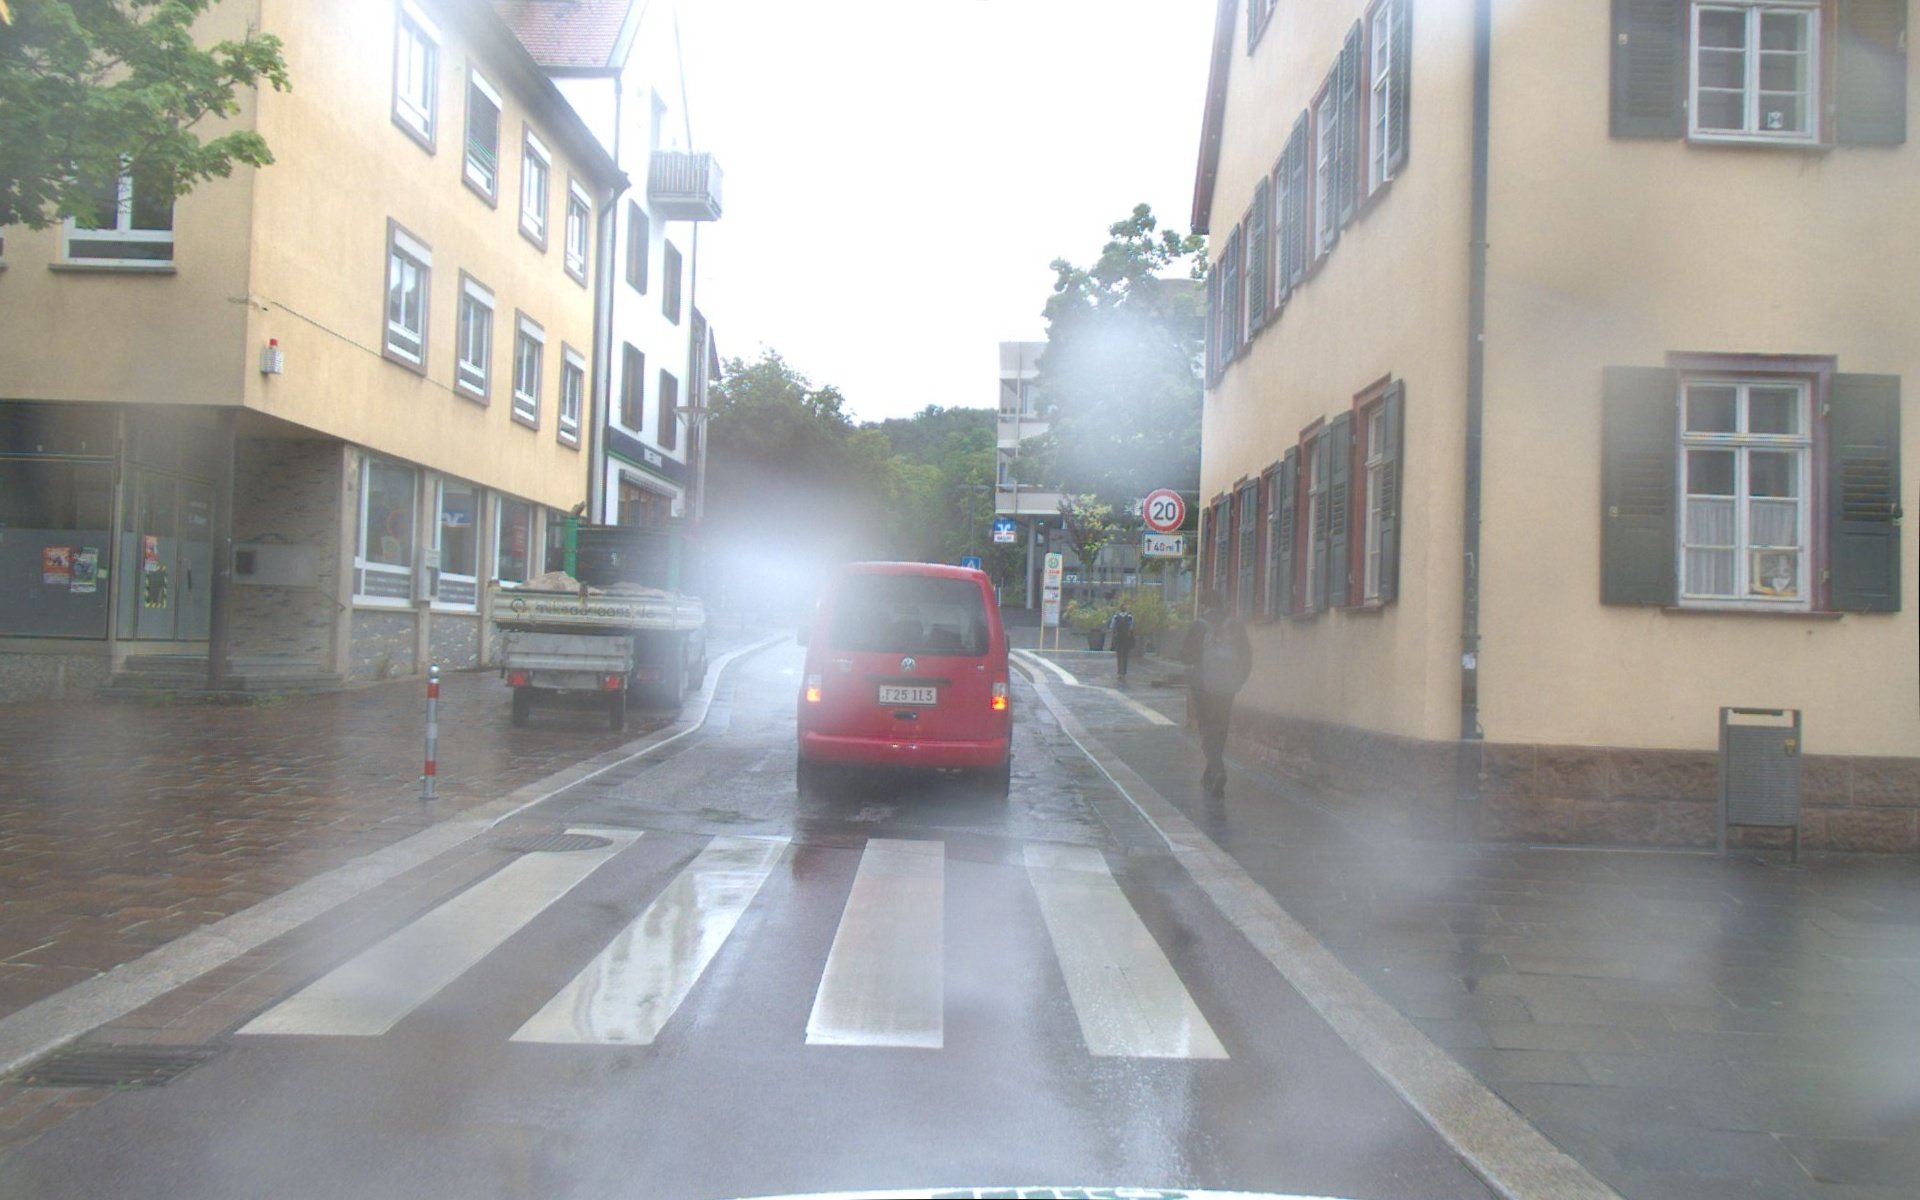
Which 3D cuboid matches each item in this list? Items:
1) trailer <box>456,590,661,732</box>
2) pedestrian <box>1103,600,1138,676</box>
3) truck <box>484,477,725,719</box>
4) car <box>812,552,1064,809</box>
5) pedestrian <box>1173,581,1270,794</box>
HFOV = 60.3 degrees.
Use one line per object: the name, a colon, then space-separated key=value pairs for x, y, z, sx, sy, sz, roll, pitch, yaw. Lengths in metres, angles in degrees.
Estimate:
trailer: x=-4.289 y=0.604 z=18.093 sx=1.694 sy=1.370 sz=3.157 roll=1 pitch=1 yaw=-5
pedestrian: x=3.543 y=0.833 z=36.553 sx=0.713 sy=1.645 sz=0.694 roll=1 pitch=-1 yaw=2
truck: x=-4.683 y=-0.061 z=22.941 sx=2.425 sy=2.844 sz=6.593 roll=1 pitch=1 yaw=-5
car: x=-0.291 y=0.613 z=14.342 sx=1.825 sy=1.862 sz=4.182 roll=2 pitch=-1 yaw=-4
pedestrian: x=2.189 y=0.712 z=13.928 sx=0.699 sy=1.722 sz=0.868 roll=1 pitch=0 yaw=3
